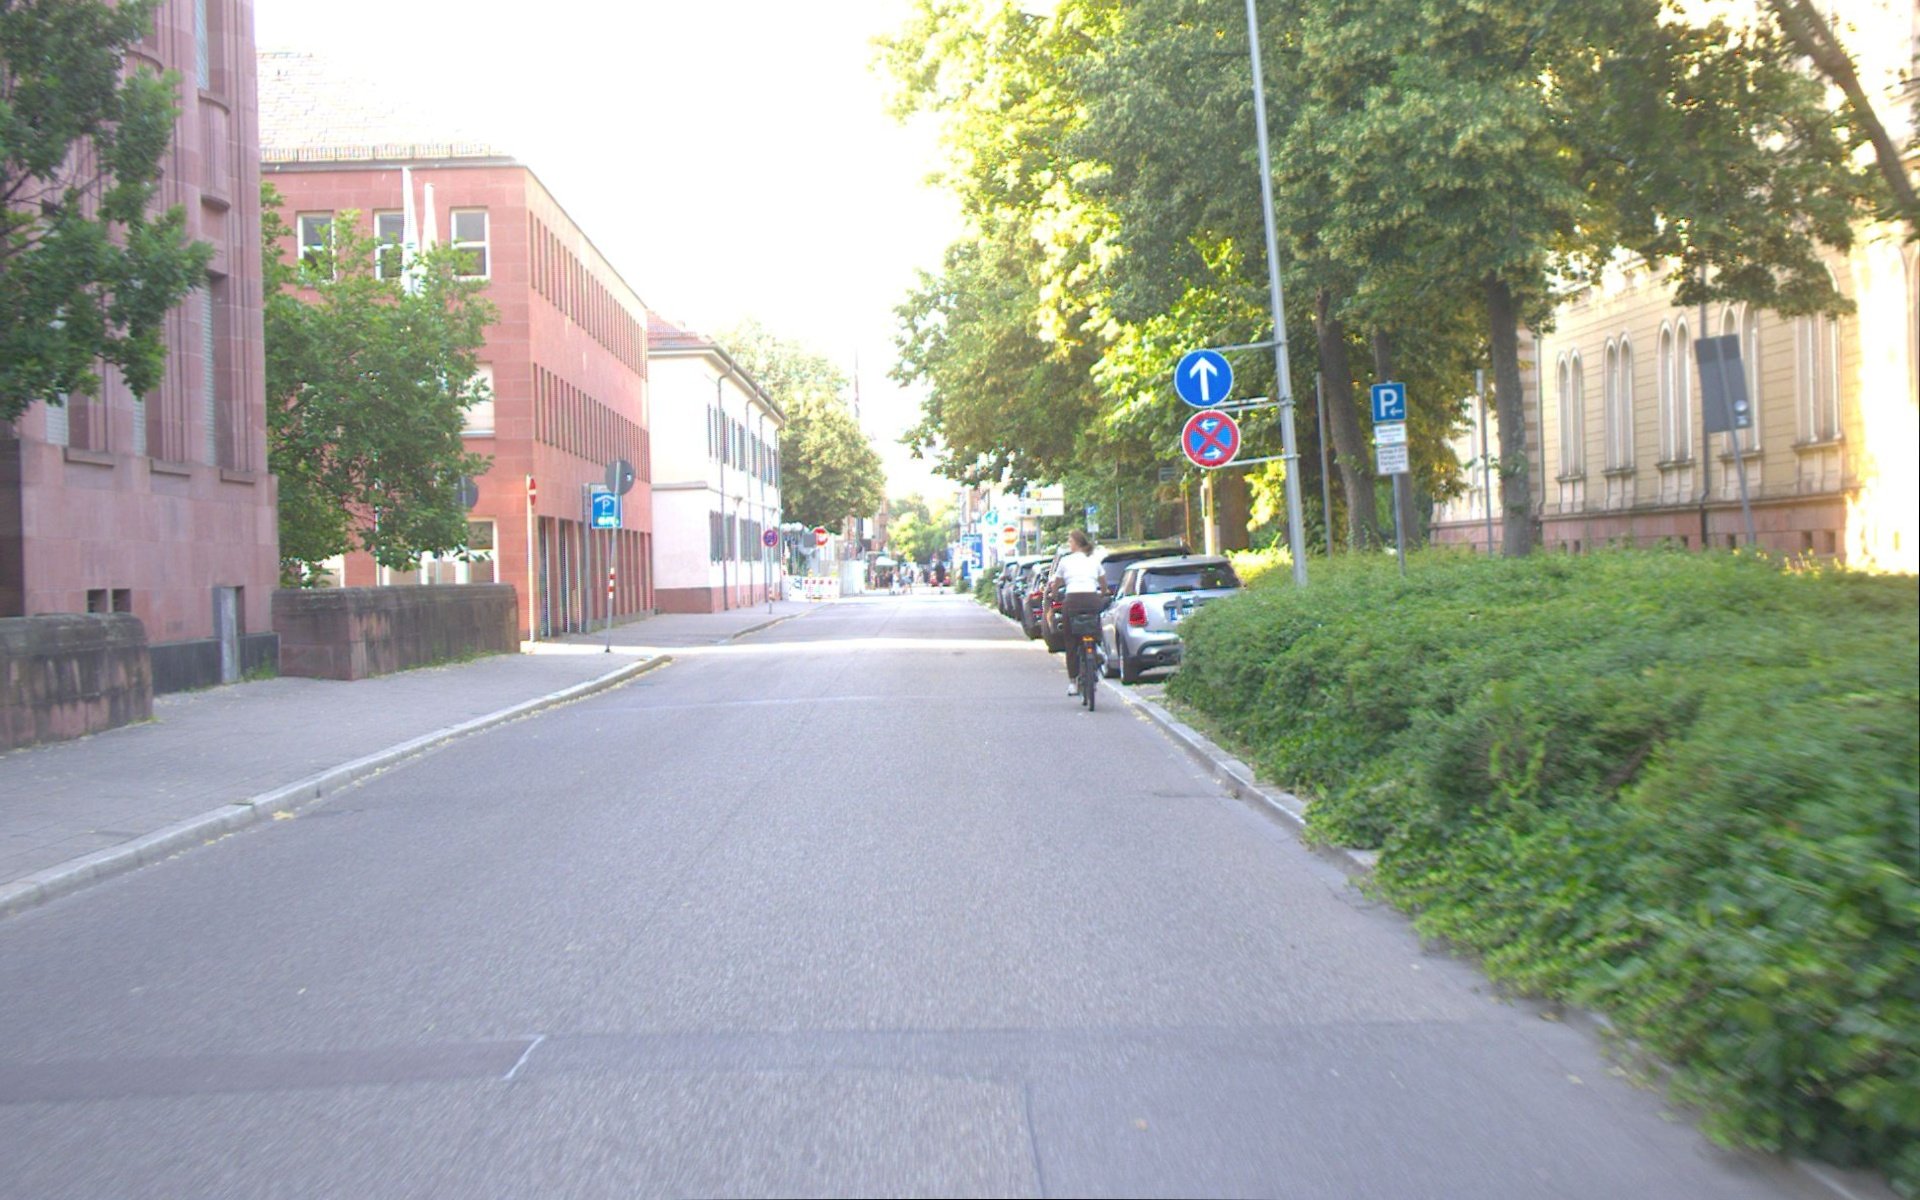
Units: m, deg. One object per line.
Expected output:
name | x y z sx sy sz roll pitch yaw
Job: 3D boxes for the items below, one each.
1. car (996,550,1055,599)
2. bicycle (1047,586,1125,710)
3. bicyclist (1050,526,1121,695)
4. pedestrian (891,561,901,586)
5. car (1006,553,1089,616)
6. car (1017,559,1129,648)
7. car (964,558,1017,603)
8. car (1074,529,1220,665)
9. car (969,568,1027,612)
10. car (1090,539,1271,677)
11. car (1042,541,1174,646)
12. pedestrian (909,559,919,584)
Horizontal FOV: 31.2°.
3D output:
car | 2.429 -0.946 128.935 1.993 1.743 4.000 -2 1 -1
bicycle | 1.245 0.462 34.235 0.638 1.189 1.876 0 1 -2
bicyclist | 1.245 0.099 34.260 0.639 1.662 0.843 0 0 -2
pedestrian | -3.795 -1.556 205.314 0.534 1.467 0.449 -2 0 -2
car | 2.331 -0.436 92.390 1.993 1.579 4.000 -2 1 -1
car | 2.284 0.046 70.463 1.993 1.700 4.000 -2 1 -1
car | 1.571 -1.007 178.598 2.493 2.188 4.910 -2 1 -1
car | 2.509 -0.078 47.005 1.715 1.706 4.473 -2 1 0
car | 1.656 -0.450 150.910 2.281 1.848 4.910 -2 1 -1
car | 2.564 0.096 40.680 1.685 1.442 3.672 -4 0 -2
car | 2.294 -0.134 54.157 1.715 1.532 4.049 -2 1 -2
pedestrian | -2.760 -1.700 205.193 0.534 1.467 0.449 -2 0 -2
